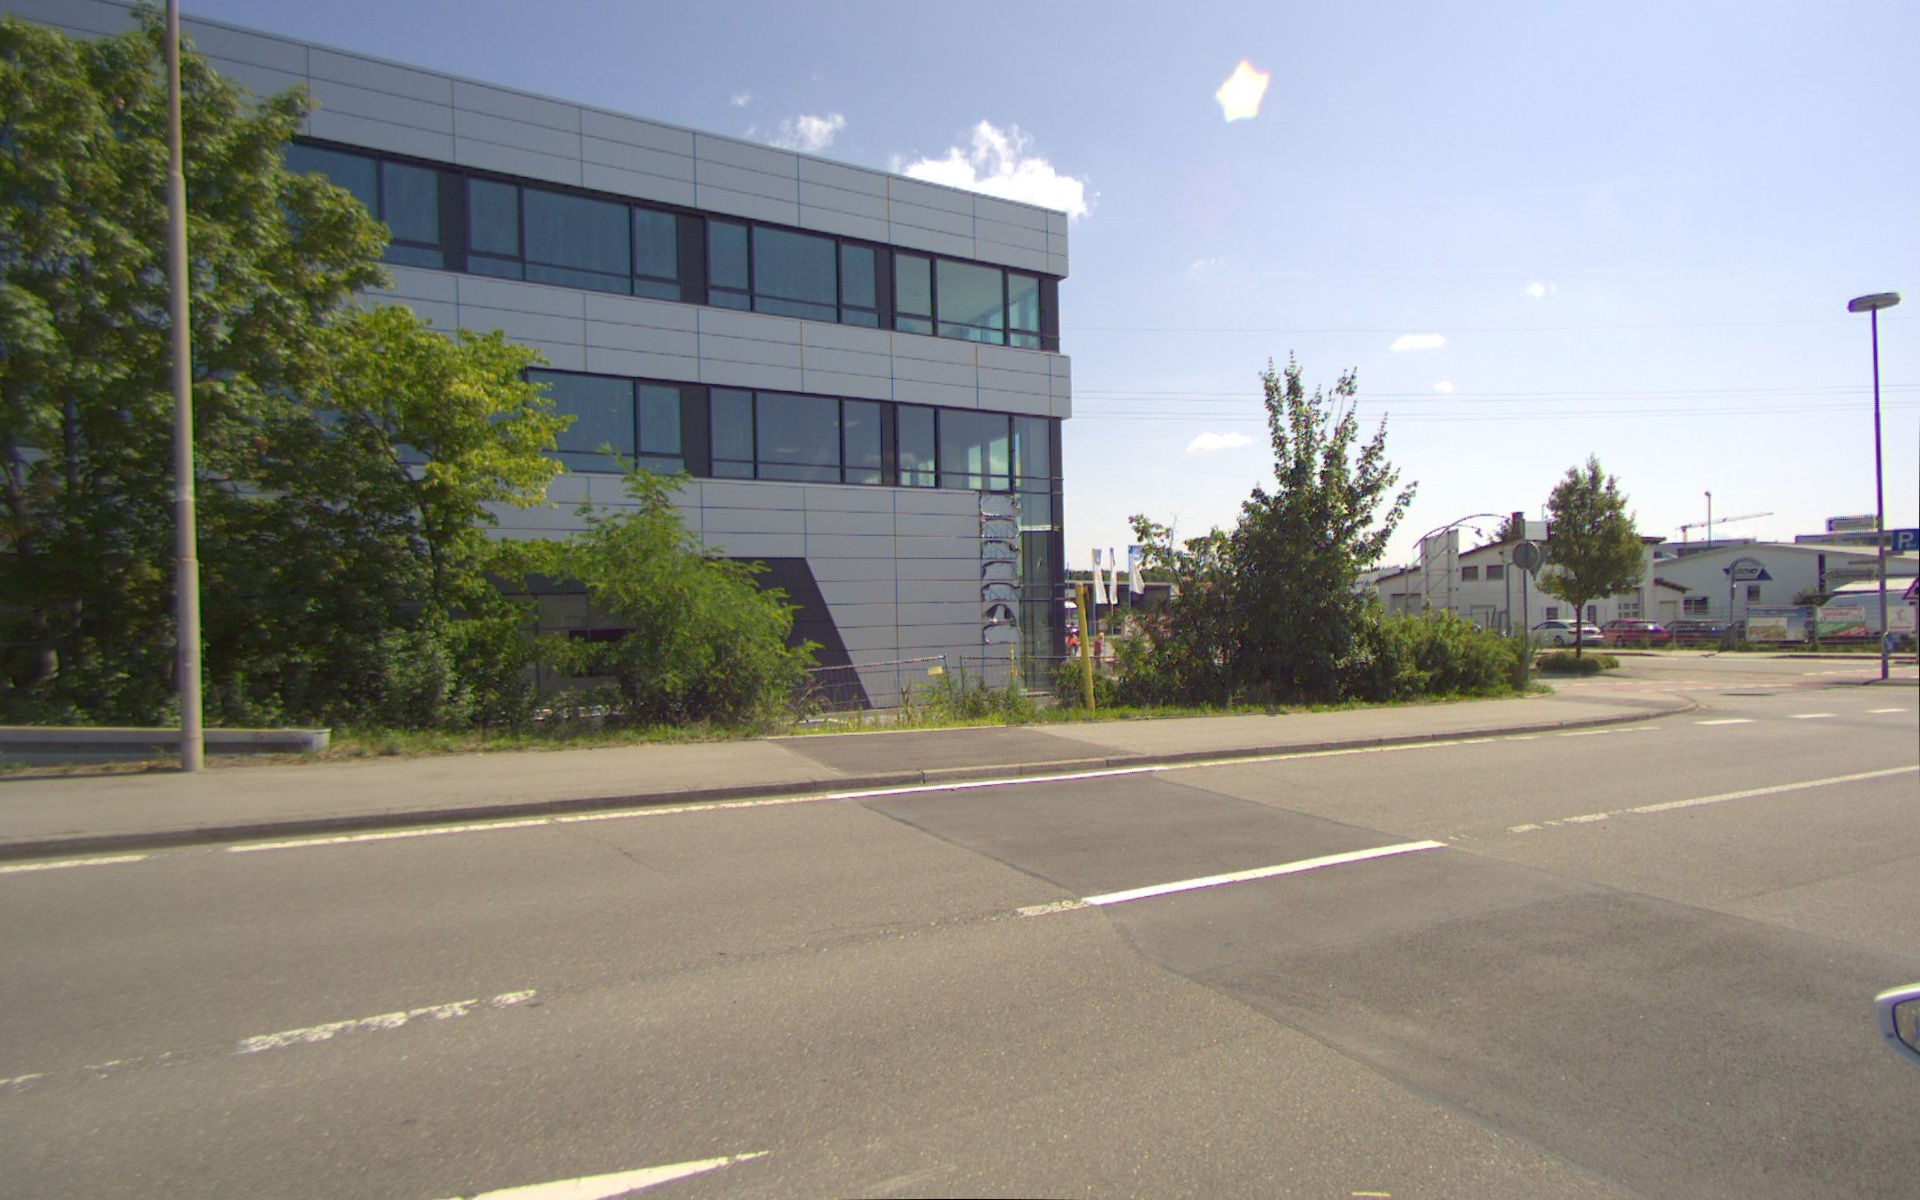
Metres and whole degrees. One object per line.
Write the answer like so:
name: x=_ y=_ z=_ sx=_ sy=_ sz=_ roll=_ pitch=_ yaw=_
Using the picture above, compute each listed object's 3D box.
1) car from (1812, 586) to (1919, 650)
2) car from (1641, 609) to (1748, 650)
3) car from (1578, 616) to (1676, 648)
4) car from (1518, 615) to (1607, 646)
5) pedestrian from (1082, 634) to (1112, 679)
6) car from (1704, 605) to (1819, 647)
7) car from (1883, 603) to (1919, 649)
car: x=40.084 y=0.803 z=43.901 sx=1.961 sy=2.643 sz=4.365 roll=0 pitch=-1 yaw=-1
car: x=32.952 y=1.301 z=45.204 sx=1.960 sy=1.676 sz=4.000 roll=-1 pitch=0 yaw=2
car: x=30.662 y=1.468 z=46.315 sx=1.960 sy=1.394 sz=4.001 roll=0 pitch=-1 yaw=1
car: x=28.473 y=1.421 z=47.580 sx=1.692 sy=1.356 sz=3.930 roll=1 pitch=-1 yaw=-4
pedestrian: x=5.772 y=2.363 z=42.374 sx=0.993 sy=1.878 sz=0.830 roll=0 pitch=-1 yaw=-25
car: x=35.428 y=1.124 z=44.551 sx=1.960 sy=1.702 sz=4.000 roll=-1 pitch=0 yaw=2
car: x=42.599 y=1.140 z=43.354 sx=1.960 sy=1.929 sz=4.001 roll=-1 pitch=0 yaw=2
